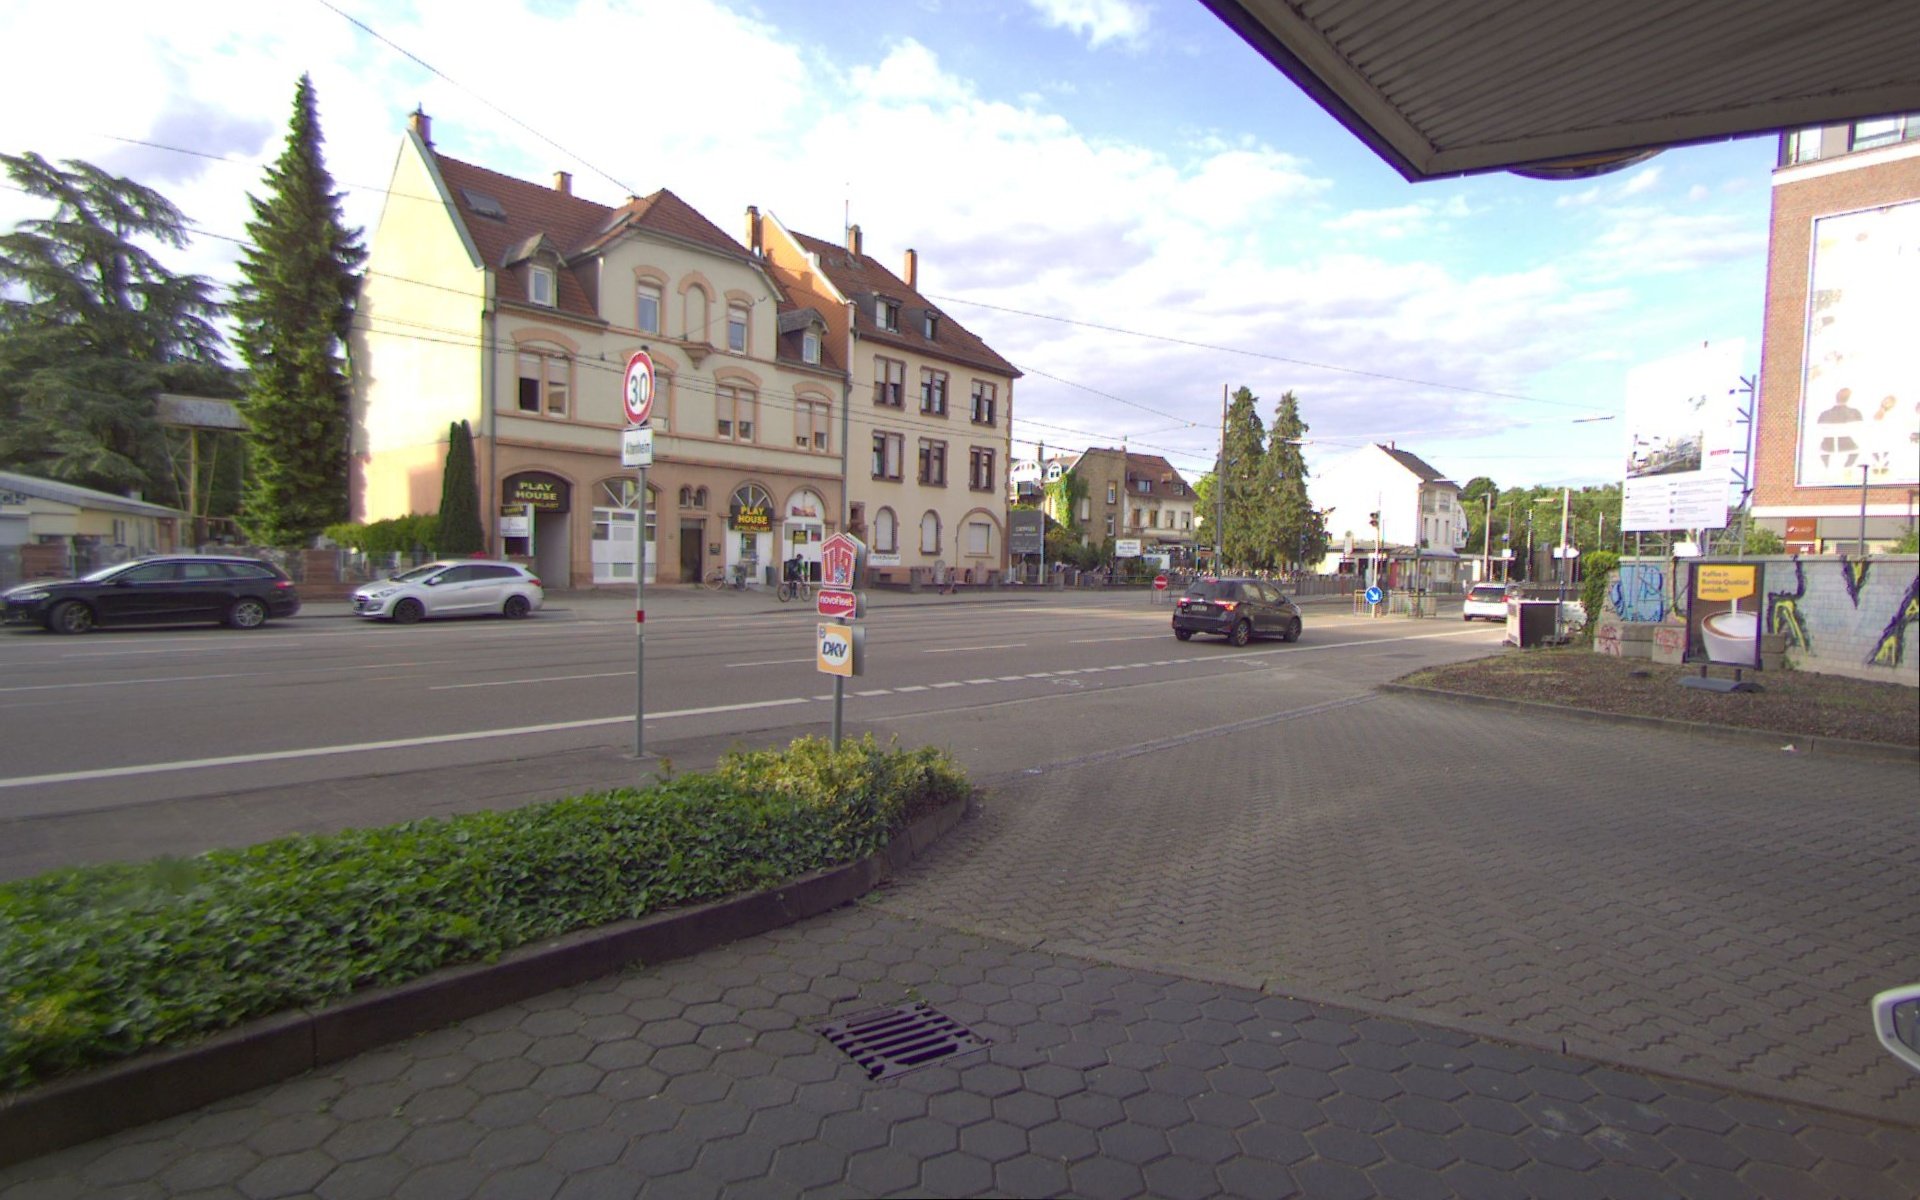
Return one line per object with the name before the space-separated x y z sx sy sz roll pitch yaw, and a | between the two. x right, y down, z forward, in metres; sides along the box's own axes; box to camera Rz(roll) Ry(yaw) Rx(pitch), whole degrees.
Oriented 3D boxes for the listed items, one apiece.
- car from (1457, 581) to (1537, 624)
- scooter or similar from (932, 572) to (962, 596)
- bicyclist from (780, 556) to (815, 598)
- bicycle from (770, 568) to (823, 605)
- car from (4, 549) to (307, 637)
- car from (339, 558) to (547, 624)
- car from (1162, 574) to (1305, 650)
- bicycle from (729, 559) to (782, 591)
car | 20.017 0.060 37.386 1.649 1.419 3.687 5 4 43
scooter or similar | -0.576 -0.709 45.091 0.437 1.006 1.460 6 5 41
bicyclist | -5.830 -0.841 36.100 0.741 1.428 0.917 8 6 40
bicycle | -5.868 -0.493 36.092 0.741 1.219 1.812 8 6 40
car | -16.497 -0.171 20.815 1.827 1.542 4.642 5 4 40
car | -12.939 -0.247 25.354 1.718 1.502 4.357 3 2 41
car | 6.493 0.217 23.640 1.649 1.568 3.687 5 4 43
bicycle | -8.258 -0.997 40.625 0.741 1.219 2.011 8 5 41
